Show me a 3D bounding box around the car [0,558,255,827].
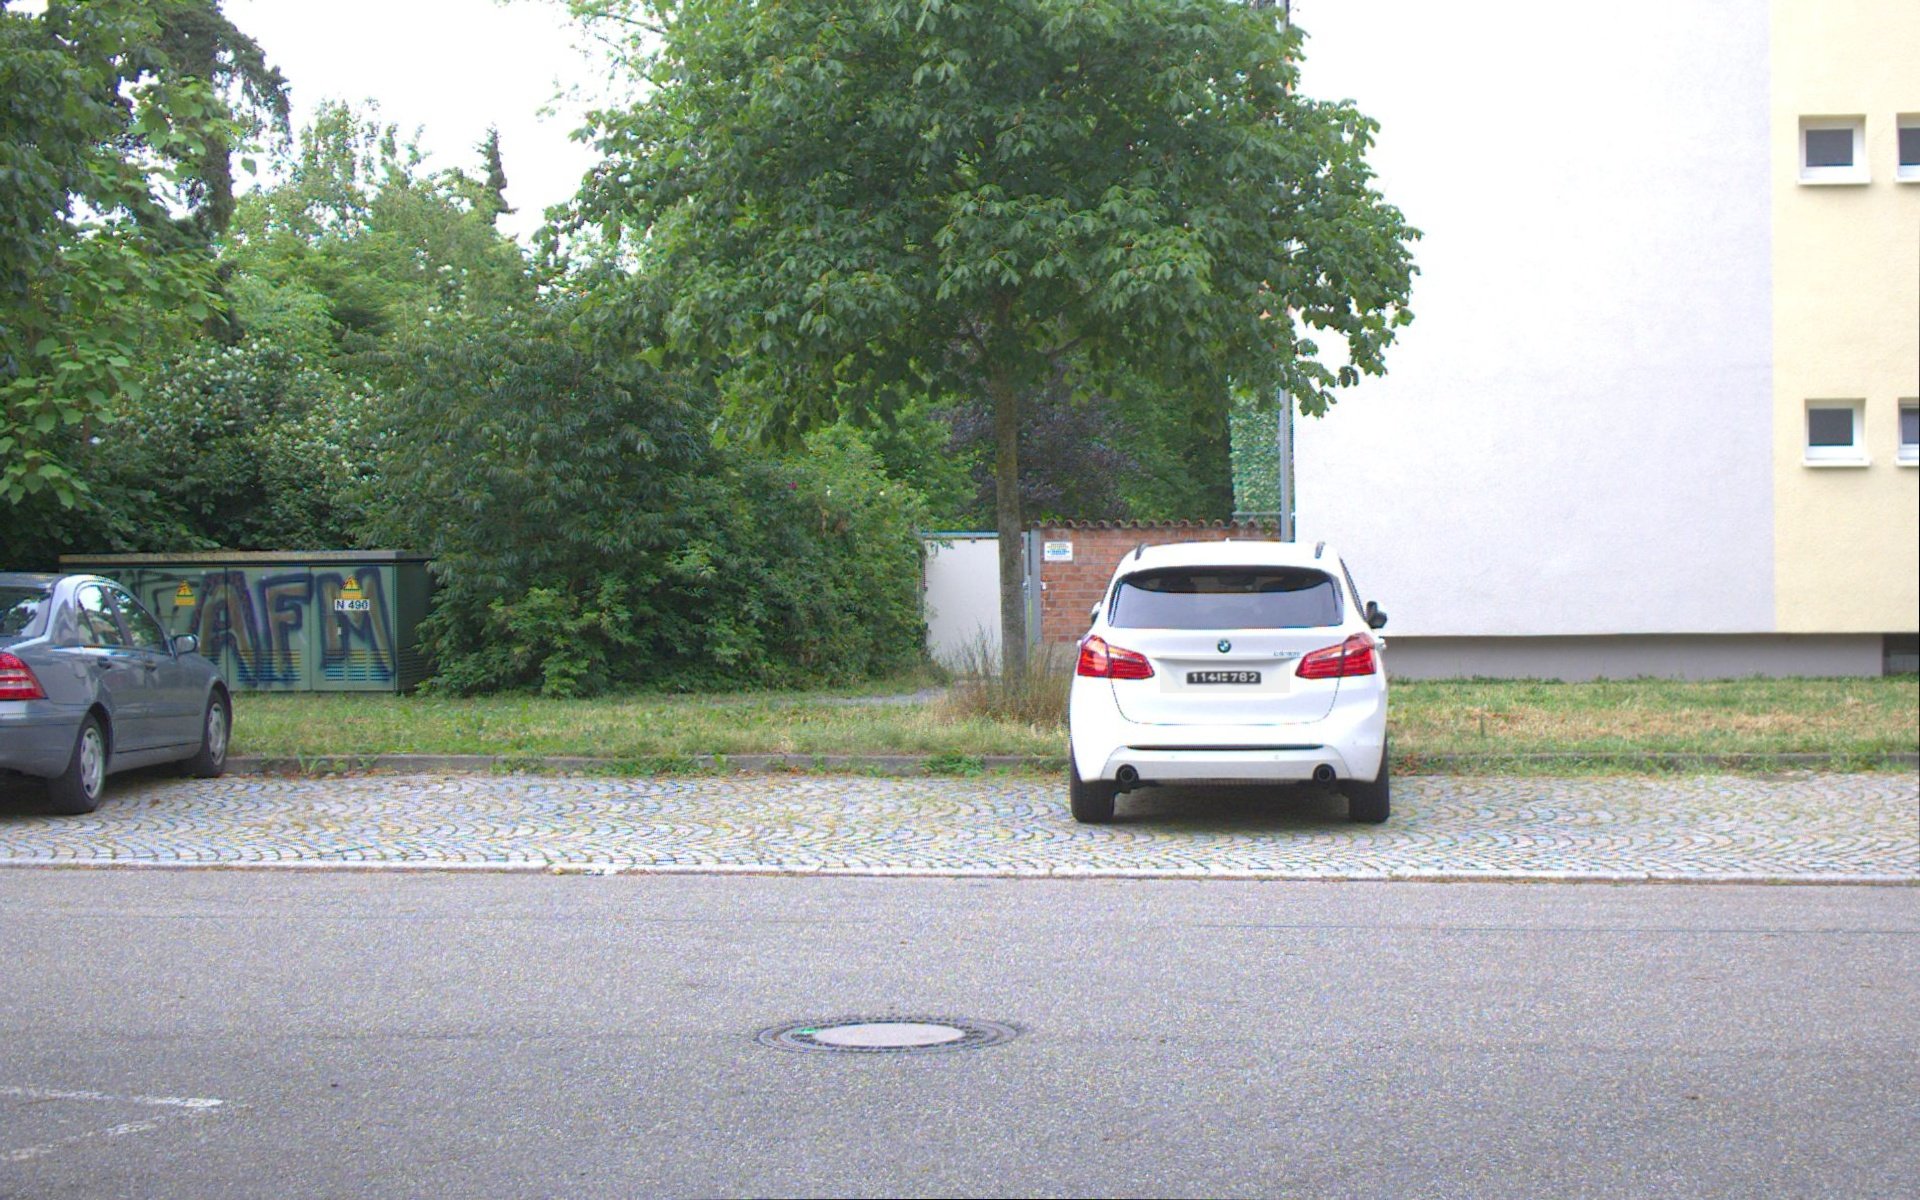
[{"bbox_3d":[-5.806,0.489,21.397,1.675,1.449,4.560,0,1,3],"label":"car"}]

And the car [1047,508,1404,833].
[{"bbox_3d":[1.673,0.318,20.377,1.879,1.555,4.148,1,4,7],"label":"car"}]
